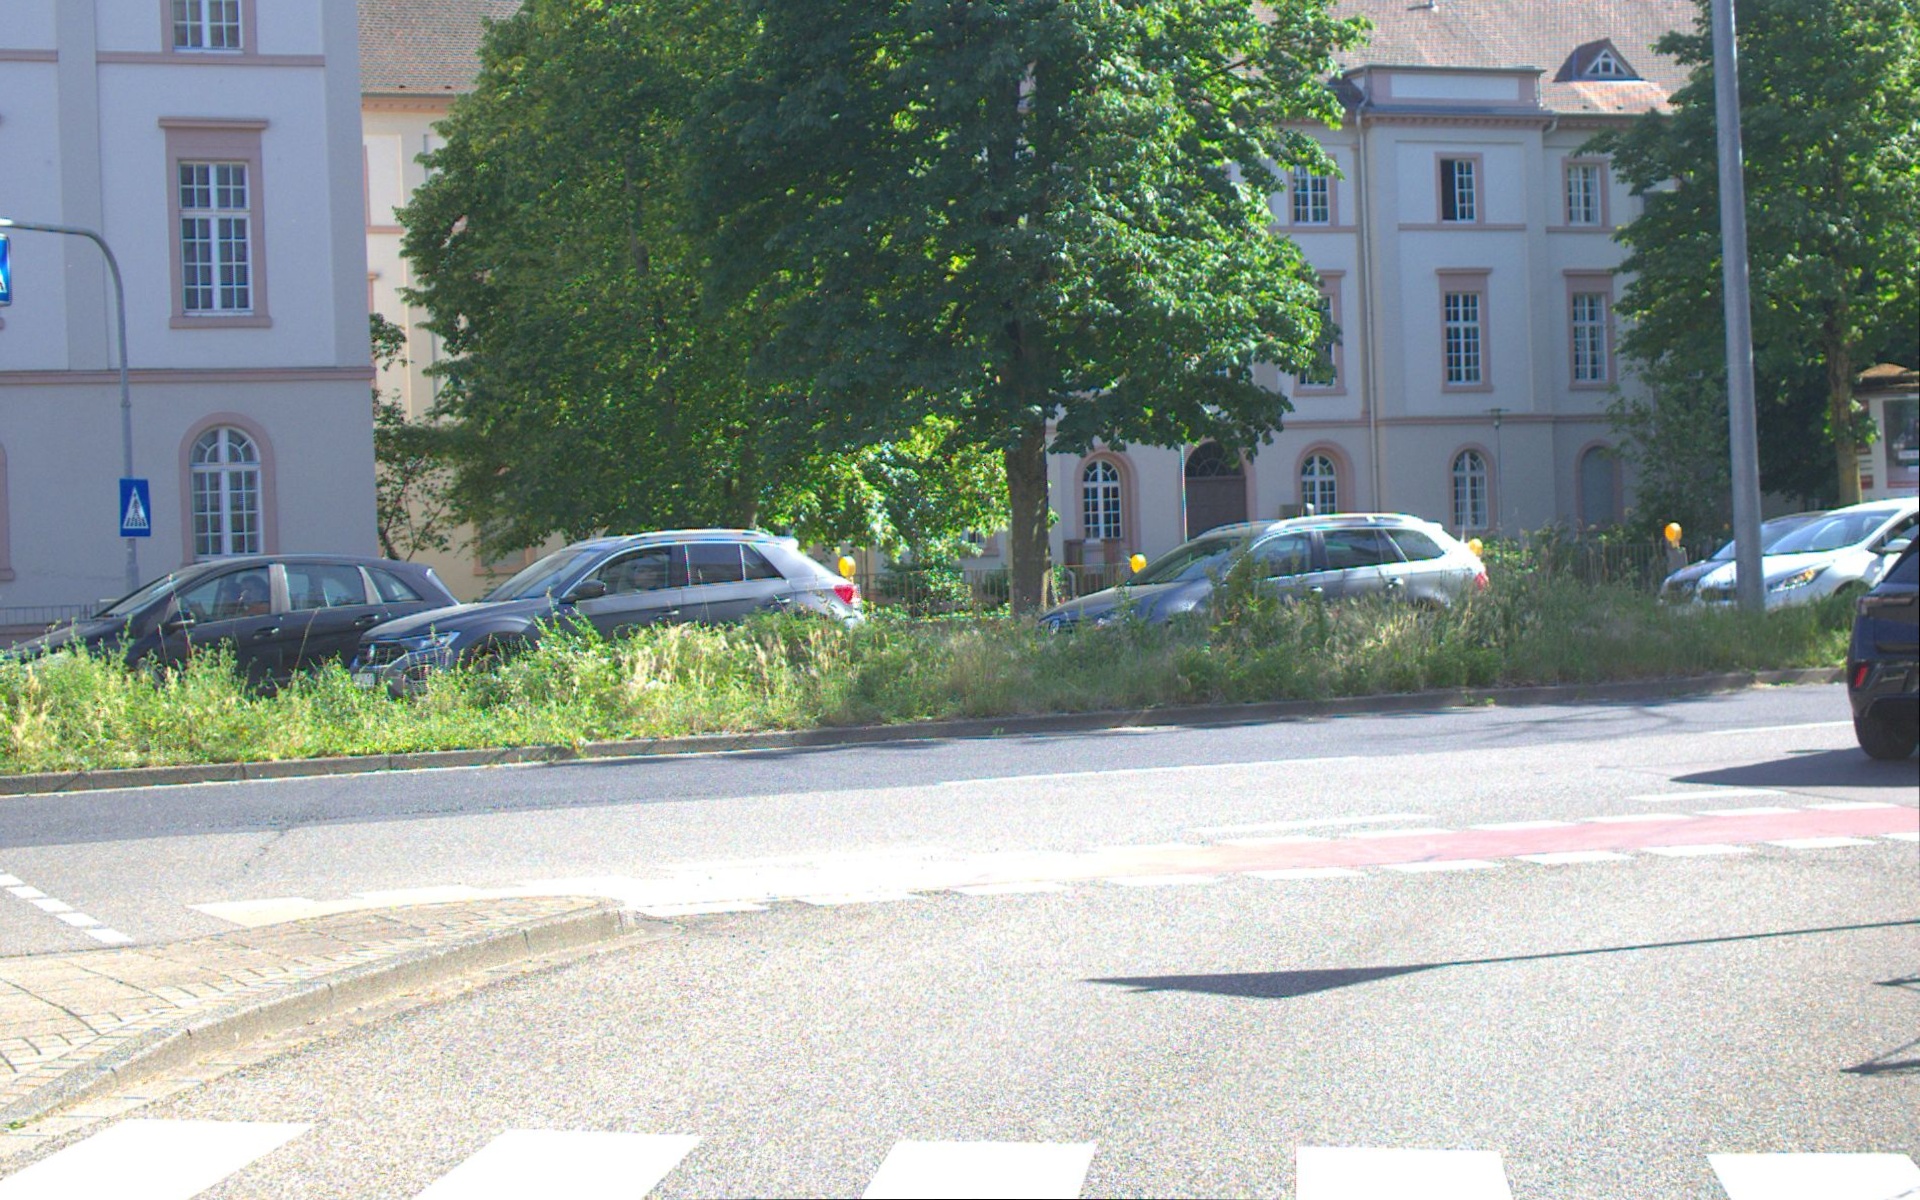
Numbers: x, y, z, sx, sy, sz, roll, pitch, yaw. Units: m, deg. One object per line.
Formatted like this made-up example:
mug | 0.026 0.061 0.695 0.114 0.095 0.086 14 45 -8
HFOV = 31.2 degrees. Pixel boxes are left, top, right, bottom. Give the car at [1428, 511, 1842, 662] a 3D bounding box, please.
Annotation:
car | 7.422 -0.179 37.701 4.332 1.514 1.802 -2 2 -30

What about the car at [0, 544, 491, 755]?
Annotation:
car | -6.393 0.381 29.486 4.264 1.580 1.863 -2 1 -30

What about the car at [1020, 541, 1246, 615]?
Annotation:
car | 3.745 -0.470 74.123 4.669 1.487 1.648 1 0 -29

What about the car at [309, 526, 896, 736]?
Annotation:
car | -2.856 0.199 27.758 4.332 1.514 1.802 -2 2 -30

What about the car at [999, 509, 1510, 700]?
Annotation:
car | 2.704 0.001 31.244 4.349 1.514 1.802 -3 2 -30

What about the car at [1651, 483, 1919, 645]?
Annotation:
car | 9.199 -0.398 34.667 4.191 1.514 1.801 -2 1 -30

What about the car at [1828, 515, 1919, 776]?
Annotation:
car | 7.132 0.206 21.946 1.898 1.513 3.993 1 3 33
